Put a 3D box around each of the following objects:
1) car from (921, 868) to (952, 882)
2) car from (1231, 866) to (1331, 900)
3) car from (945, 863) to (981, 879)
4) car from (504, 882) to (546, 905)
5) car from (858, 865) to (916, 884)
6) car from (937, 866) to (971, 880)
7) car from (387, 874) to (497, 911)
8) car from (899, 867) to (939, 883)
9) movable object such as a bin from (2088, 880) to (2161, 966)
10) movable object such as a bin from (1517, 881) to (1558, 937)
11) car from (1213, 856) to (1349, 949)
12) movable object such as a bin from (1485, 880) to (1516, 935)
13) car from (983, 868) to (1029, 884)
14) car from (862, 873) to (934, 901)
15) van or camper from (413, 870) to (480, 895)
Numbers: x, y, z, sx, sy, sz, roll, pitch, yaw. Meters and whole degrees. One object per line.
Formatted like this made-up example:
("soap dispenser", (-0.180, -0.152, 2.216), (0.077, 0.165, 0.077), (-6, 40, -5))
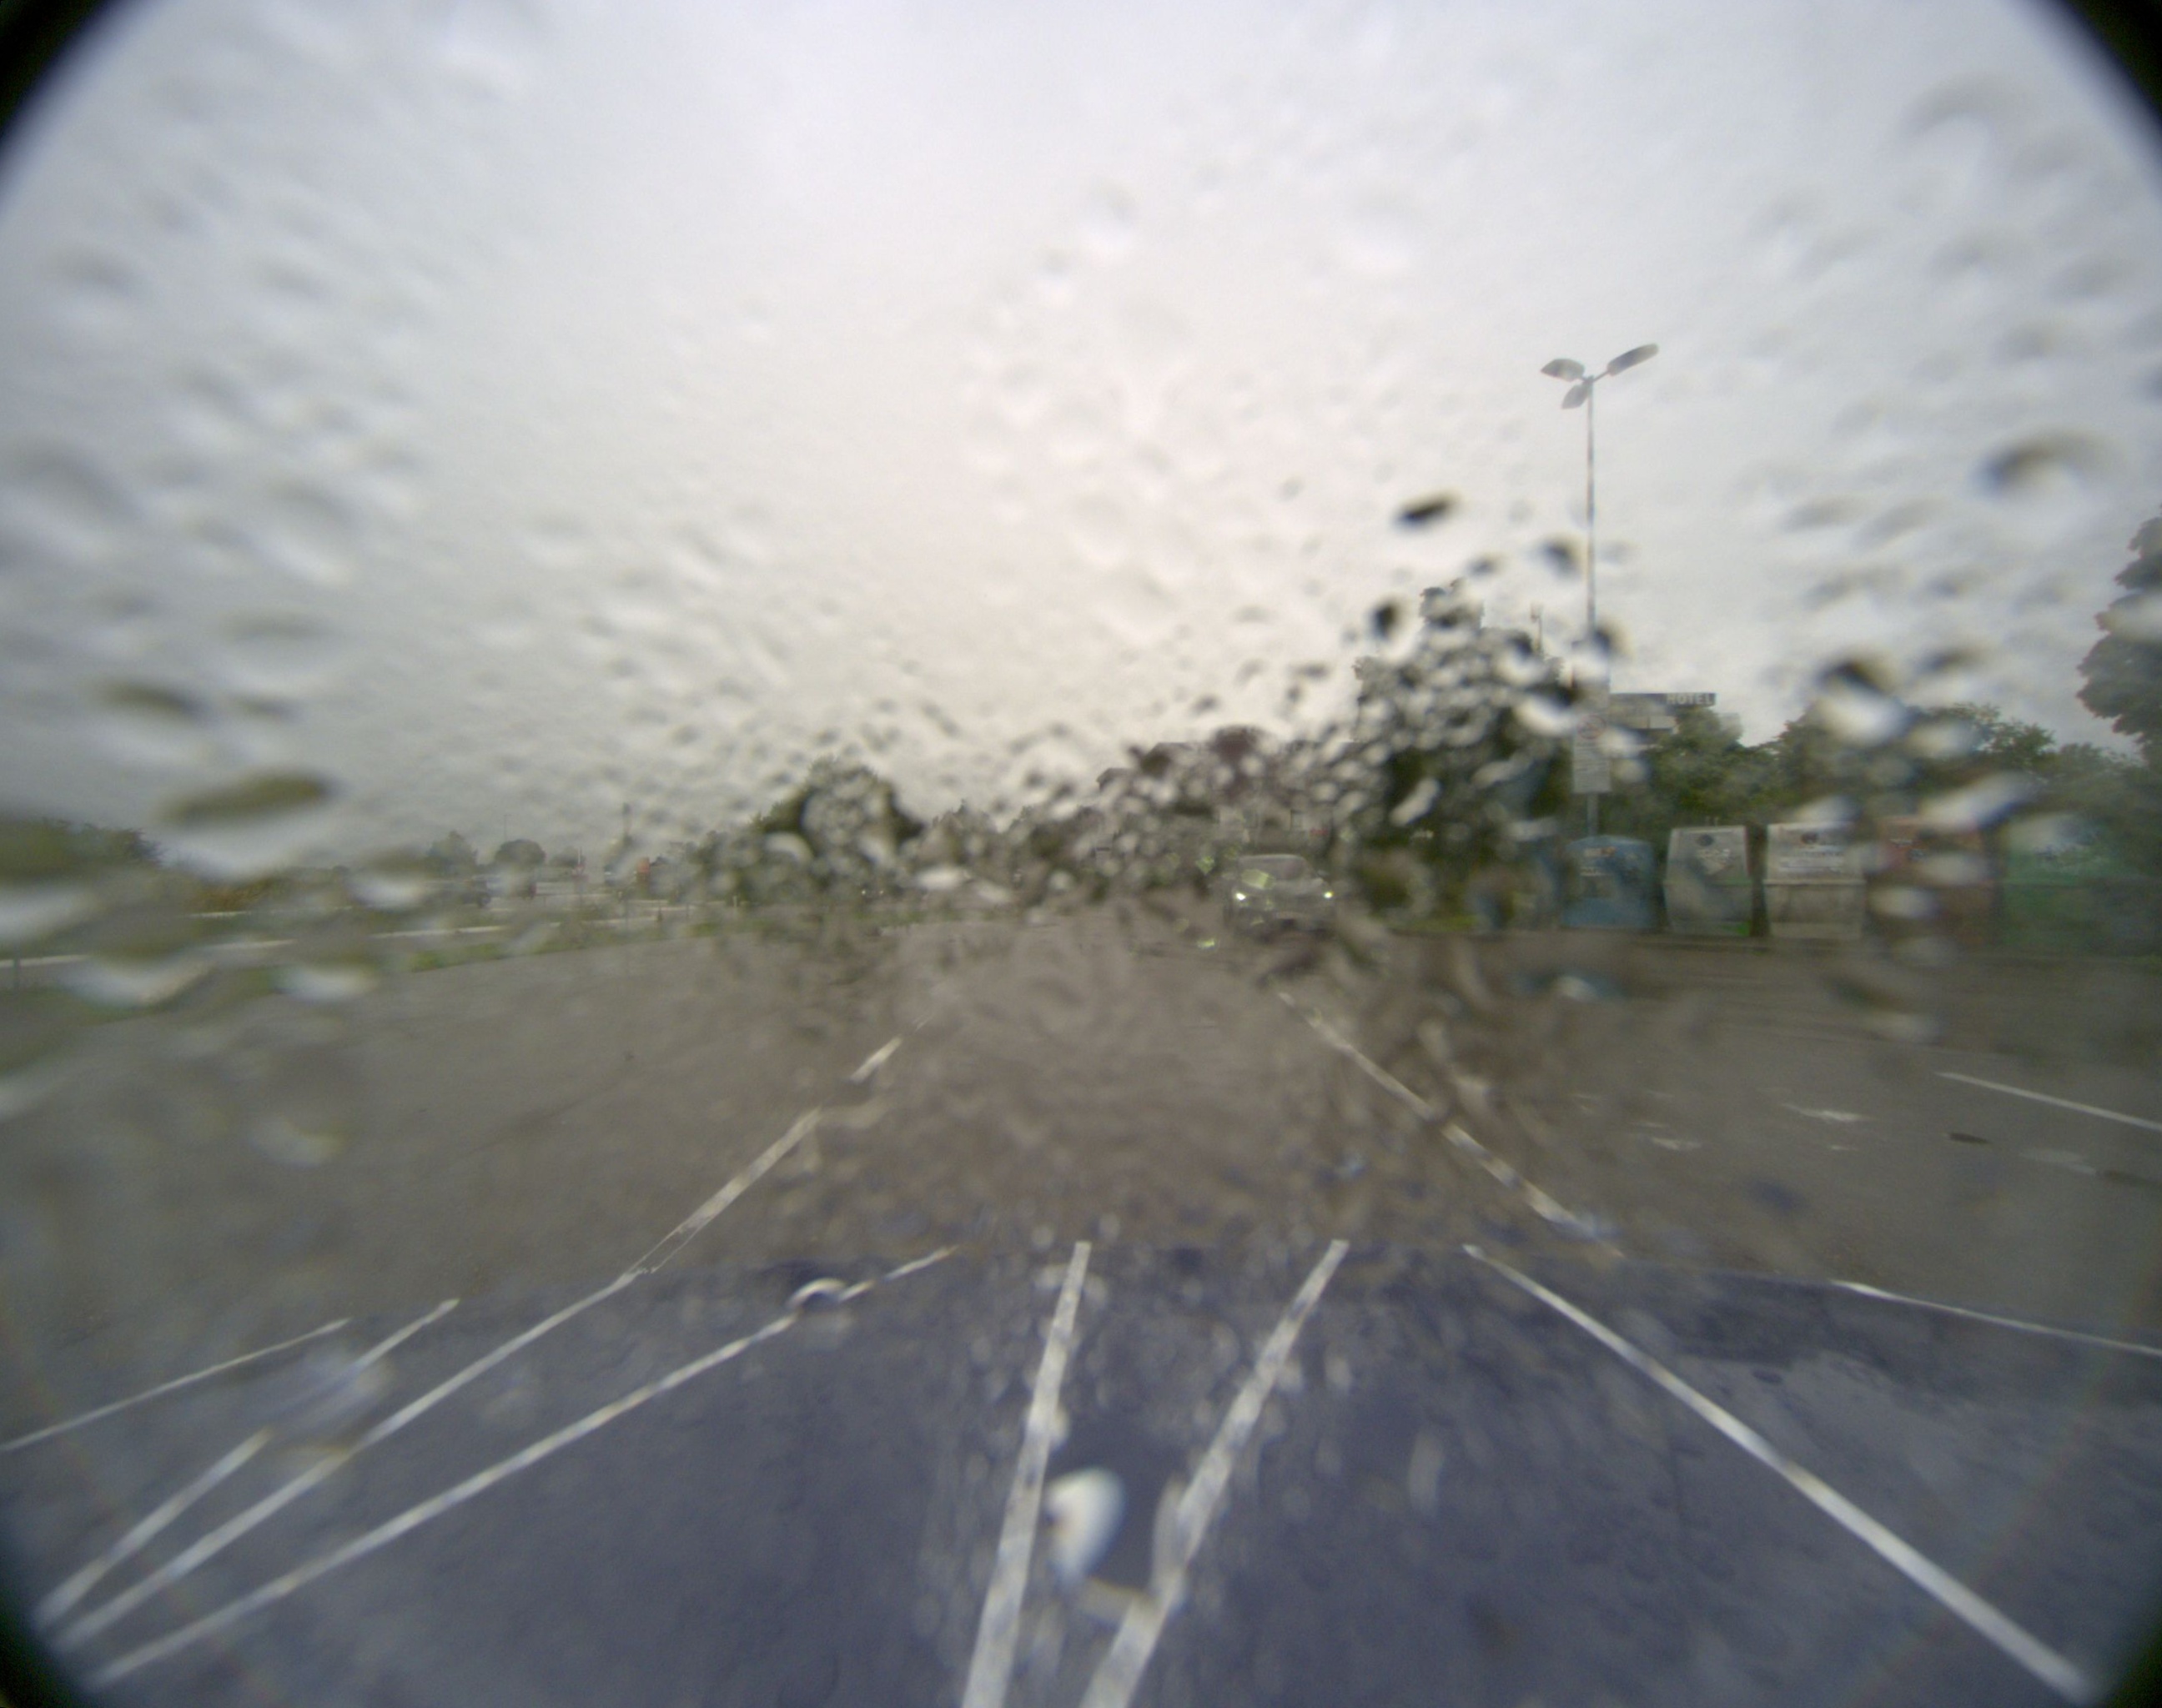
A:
("car", (-16.848, 2.422, 88.322), (3.716, 1.540, 1.670), (-3, -1, 43))
("car", (9.141, 1.321, 35.037), (1.873, 1.440, 4.319), (0, -1, -32))
("car", (-14.322, 2.060, 92.233), (3.989, 1.717, 1.994), (-3, -1, 37))
("car", (-43.185, 3.052, 58.993), (2.004, 1.593, 4.512), (-2, 0, -43))
("car", (-20.003, 2.136, 78.495), (5.374, 1.711, 2.000), (-2, -1, -2))
("car", (-15.036, 2.241, 90.054), (3.878, 1.560, 1.753), (-3, -1, 38))
("car", (-34.039, 2.013, 40.691), (1.891, 1.674, 4.670), (1, 1, 1))
("car", (-18.347, 2.391, 86.130), (4.636, 1.541, 2.004), (-3, -1, 41))
("movable object such as a bin", (11.709, 0.756, 8.534), (0.510, 0.917, 0.437), (0, -2, -39))
("movable object such as a bin", (7.948, 0.948, 13.244), (0.405, 0.943, 0.450), (-2, 0, 1))
("car", (3.868, 0.875, 15.516), (1.997, 1.565, 4.503), (-2, -1, 6))
("movable object such as a bin", (7.577, 0.961, 13.727), (0.434, 0.943, 0.474), (-2, 0, 25))
("car", (-7.285, 2.119, 74.443), (4.358, 1.416, 1.850), (-1, -1, -3))
("car", (-10.689, 1.900, 44.717), (1.702, 1.416, 4.368), (-1, 0, 26))
("van or camper", (-54.748, 2.407, 65.592), (4.837, 2.001, 2.003), (1, 0, 16))
